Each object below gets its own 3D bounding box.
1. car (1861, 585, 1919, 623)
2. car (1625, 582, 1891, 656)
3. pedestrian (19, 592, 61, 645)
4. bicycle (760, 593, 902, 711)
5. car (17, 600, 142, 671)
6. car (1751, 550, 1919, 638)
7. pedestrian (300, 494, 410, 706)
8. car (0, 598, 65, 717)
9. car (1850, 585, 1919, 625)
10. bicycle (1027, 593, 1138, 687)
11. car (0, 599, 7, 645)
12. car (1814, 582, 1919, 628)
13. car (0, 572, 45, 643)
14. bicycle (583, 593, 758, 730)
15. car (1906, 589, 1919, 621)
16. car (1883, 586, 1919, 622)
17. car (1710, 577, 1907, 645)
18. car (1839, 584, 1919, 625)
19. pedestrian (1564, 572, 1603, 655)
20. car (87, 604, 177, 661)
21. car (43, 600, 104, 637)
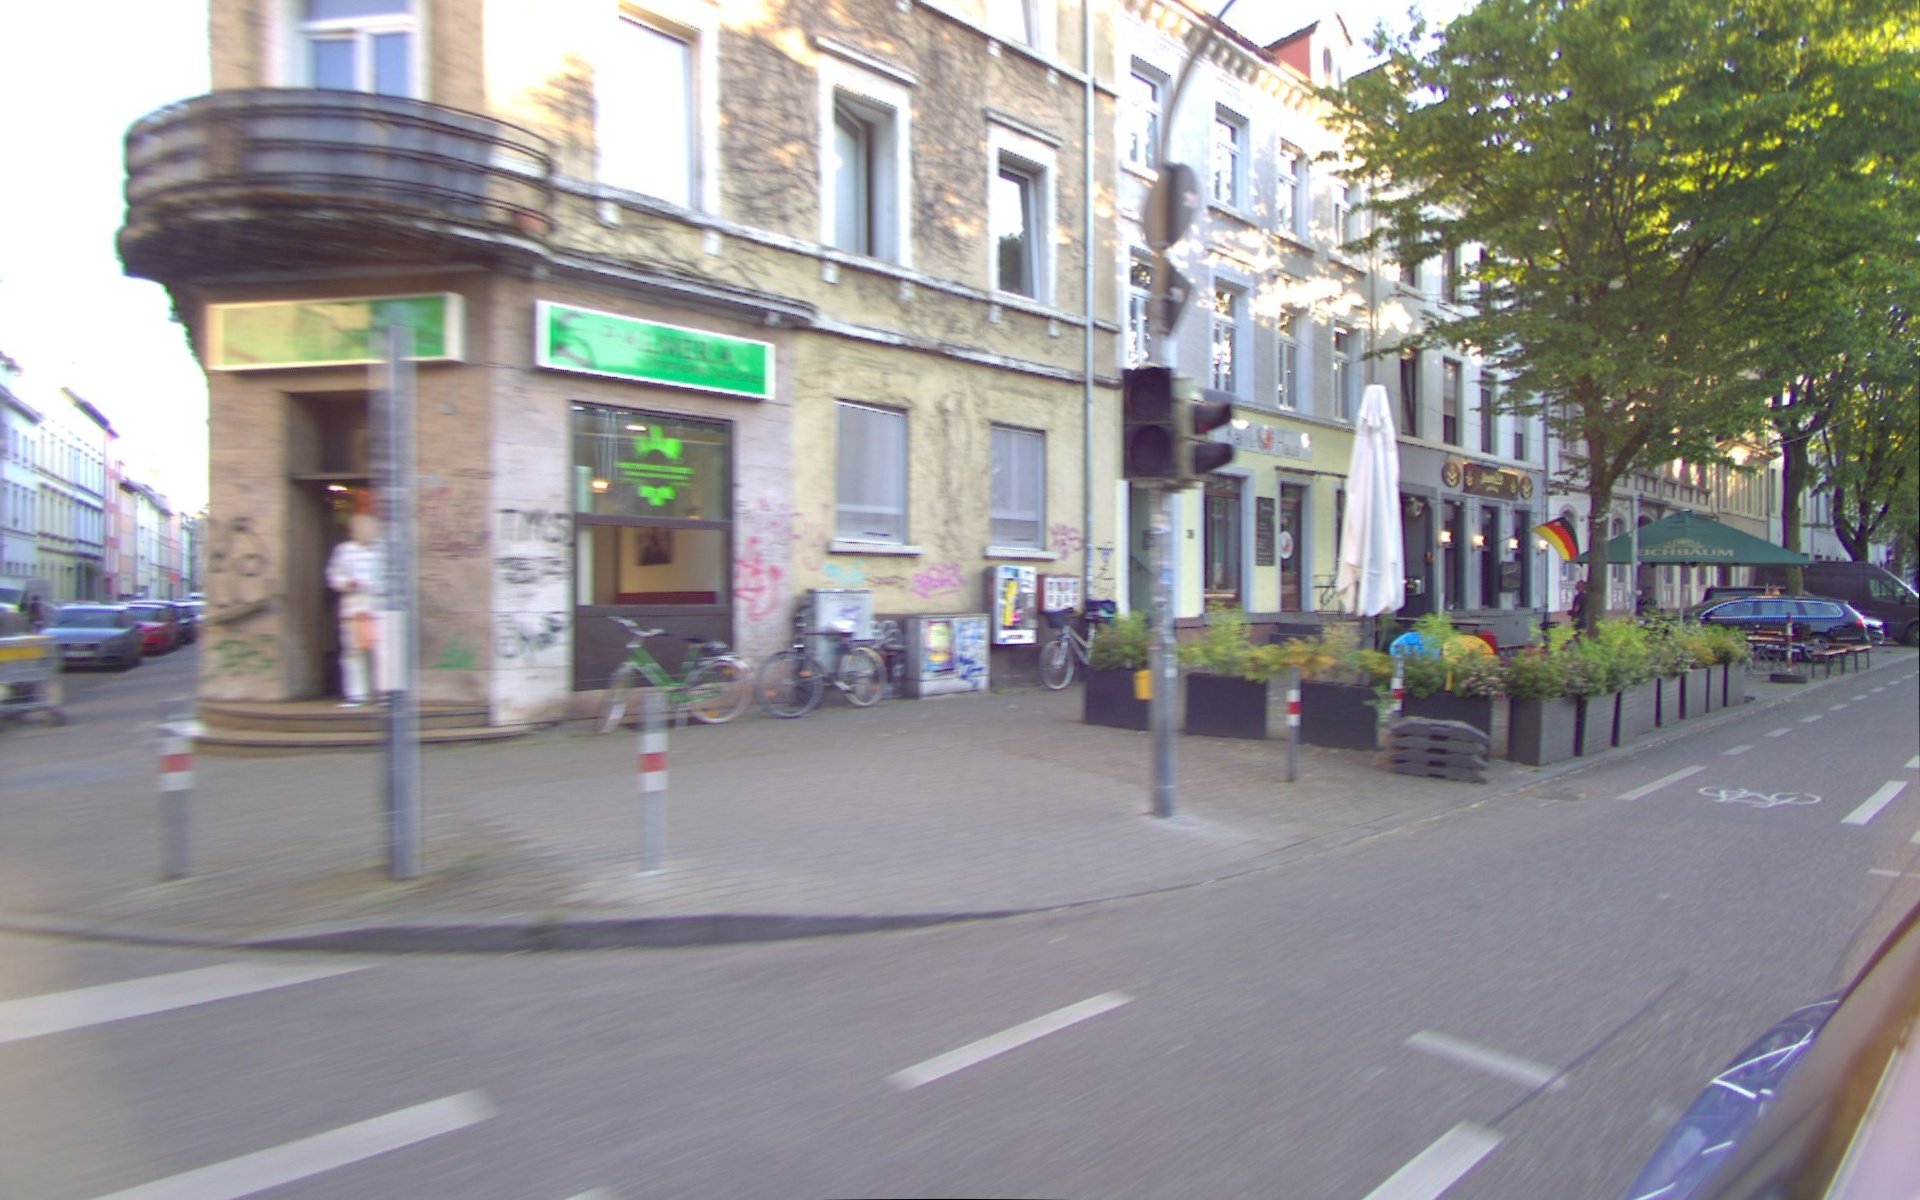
[{"bbox_3d":[41.690,0.183,43.717,3.974,1.595,1.698,2,0,38],"label":"car"},{"bbox_3d":[18.657,0.393,23.948,4.585,1.536,1.796,2,0,24],"label":"car"},{"bbox_3d":[-31.807,0.616,35.004,0.968,1.789,1.209,0,-1,-37],"label":"pedestrian"},{"bbox_3d":[-1.408,0.538,11.190,1.558,1.226,0.470,0,-1,-41],"label":"bicycle"},{"bbox_3d":[-19.543,0.755,22.606,1.630,1.462,3.675,2,-2,-34],"label":"car"},{"bbox_3d":[28.456,-0.231,32.030,5.196,2.653,1.905,2,1,34],"label":"car"},{"bbox_3d":[-5.524,0.003,9.269,0.600,1.855,0.560,2,-1,-4],"label":"pedestrian"},{"bbox_3d":[-14.361,0.741,14.519,1.749,1.537,4.062,2,-1,-35],"label":"car"},{"bbox_3d":[39.960,0.214,42.254,1.691,1.595,3.992,1,1,-39],"label":"car"},{"bbox_3d":[1.724,0.516,14.032,1.752,1.226,0.470,0,0,-41],"label":"bicycle"},{"bbox_3d":[-33.135,0.802,33.362,1.872,1.596,4.061,-5,2,-35],"label":"car"},{"bbox_3d":[34.841,0.183,37.977,1.691,1.619,3.992,1,1,-39],"label":"car"},{"bbox_3d":[-37.107,0.297,38.929,2.337,2.624,5.033,0,0,-37],"label":"car"},{"bbox_3d":[-2.769,0.551,9.779,1.558,1.226,0.524,0,-1,-41],"label":"bicycle"},{"bbox_3d":[50.110,0.306,50.514,3.970,1.595,1.700,2,0,35],"label":"car"},{"bbox_3d":[44.888,0.215,46.081,3.970,1.595,1.700,2,0,35],"label":"car"},{"bbox_3d":[23.496,0.265,28.124,1.692,1.720,3.988,1,1,-42],"label":"car"},{"bbox_3d":[37.837,0.179,40.338,1.691,1.595,3.992,1,1,-39],"label":"car"},{"bbox_3d":[13.634,0.286,22.147,0.633,1.774,0.499,0,1,-36],"label":"pedestrian"},{"bbox_3d":[-23.537,0.889,28.878,1.630,1.520,3.580,2,-2,-34],"label":"car"},{"bbox_3d":[-46.264,0.958,52.879,1.872,1.745,4.061,-5,2,-35],"label":"car"}]
